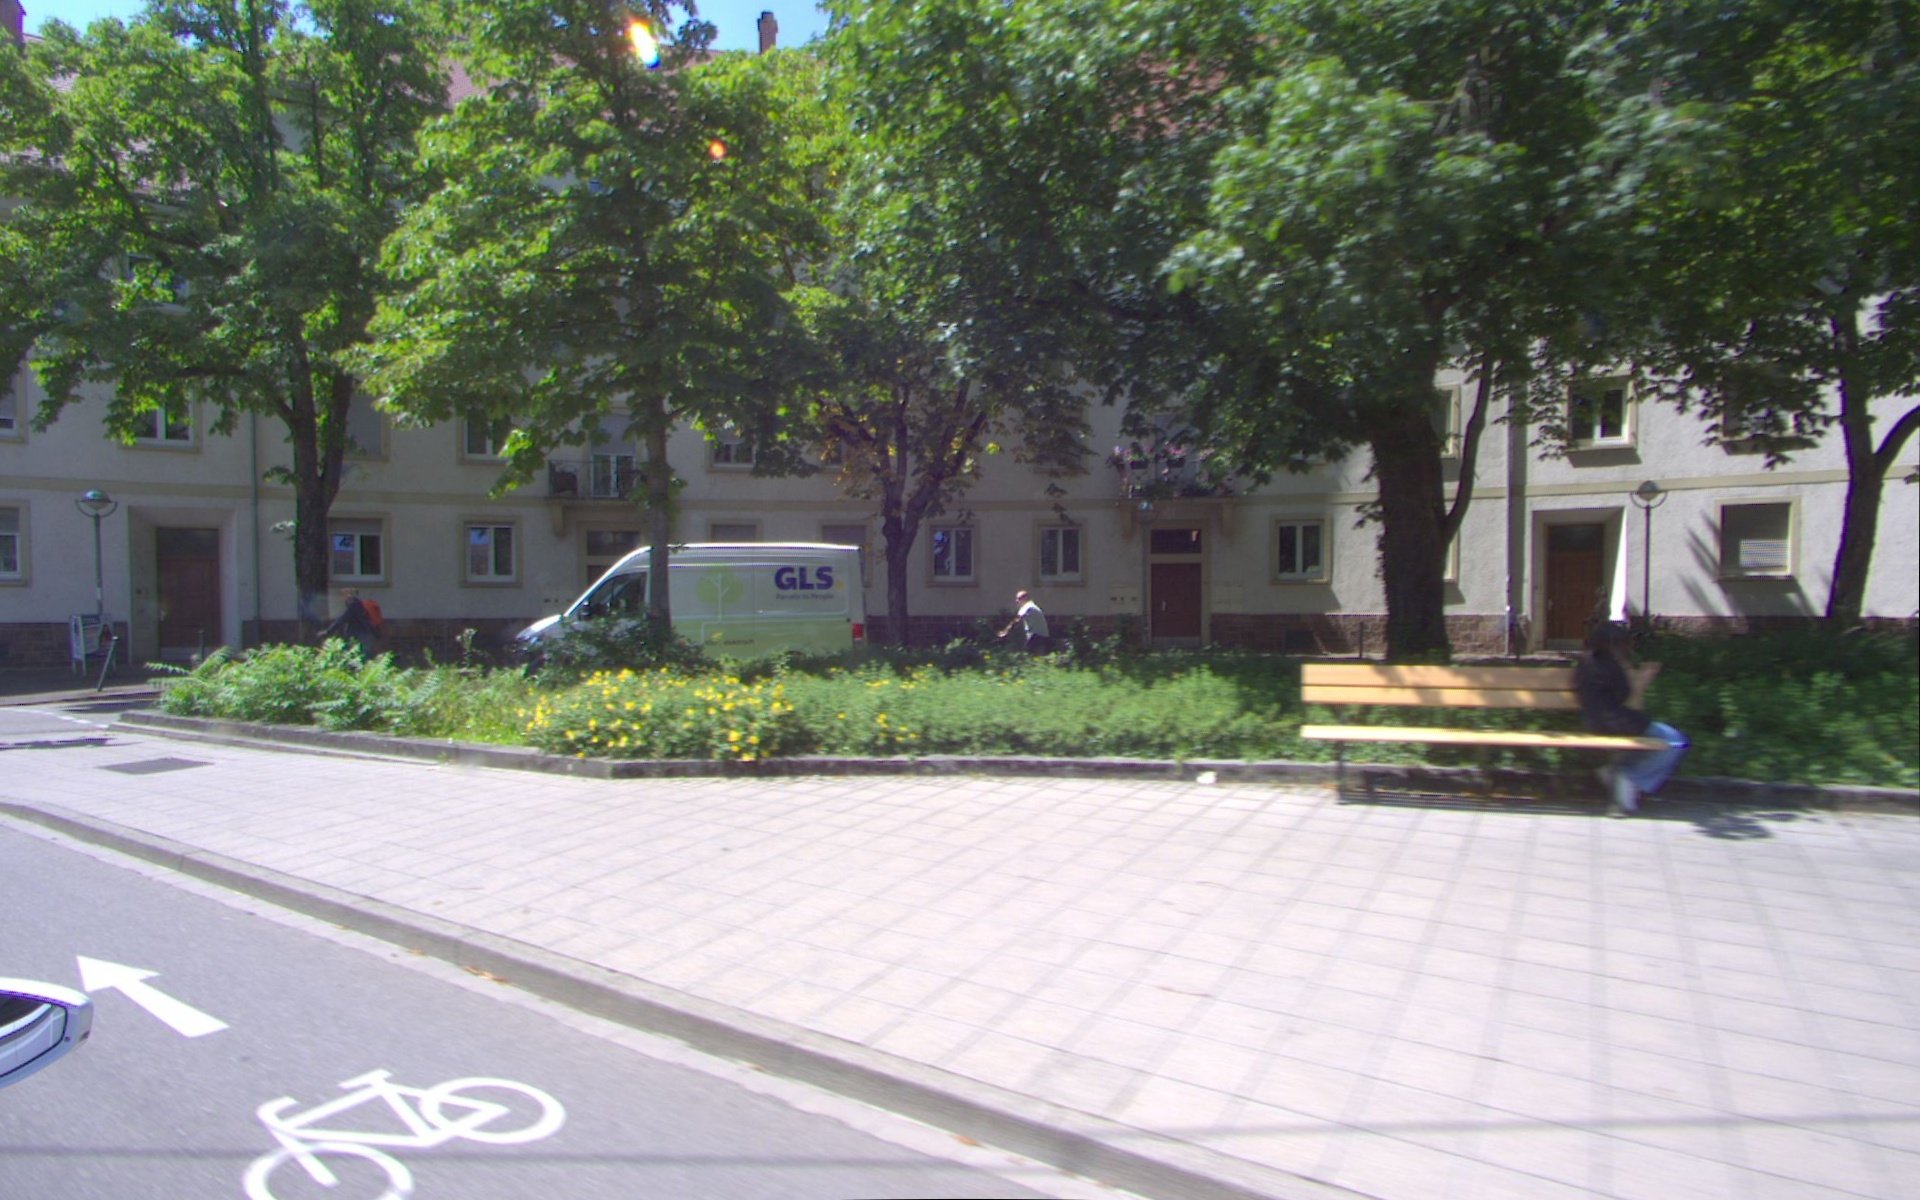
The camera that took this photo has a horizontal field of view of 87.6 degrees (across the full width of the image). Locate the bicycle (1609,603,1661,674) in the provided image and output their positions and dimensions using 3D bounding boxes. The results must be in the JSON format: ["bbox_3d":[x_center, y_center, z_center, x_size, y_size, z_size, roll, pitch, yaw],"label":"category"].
[{"bbox_3d":[13.834,0.770,20.491,0.510,1.365,2.223,0,-1,44],"label":"bicycle"}]

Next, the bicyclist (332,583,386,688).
[{"bbox_3d":[-9.776,0.572,16.298,0.684,1.667,0.578,0,0,-24],"label":"bicyclist"}]

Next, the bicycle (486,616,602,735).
[{"bbox_3d":[-5.128,0.894,12.296,1.809,1.377,0.351,-1,0,33],"label":"bicycle"}]

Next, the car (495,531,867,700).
[{"bbox_3d":[-4.475,0.266,16.850,5.739,2.623,2.000,0,-1,-7],"label":"car"}]

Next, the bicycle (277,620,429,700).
[{"bbox_3d":[-9.816,0.949,16.286,2.054,1.252,0.578,0,0,-25],"label":"bicycle"}]

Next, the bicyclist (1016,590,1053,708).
[{"bbox_3d":[1.167,0.760,15.810,0.524,1.823,0.604,0,0,-2],"label":"bicyclist"}]

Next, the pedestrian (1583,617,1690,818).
[{"bbox_3d":[4.056,0.672,6.001,0.472,1.107,0.507,2,3,38],"label":"pedestrian"}]

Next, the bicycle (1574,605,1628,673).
[{"bbox_3d":[13.436,0.793,20.960,0.510,1.362,2.308,0,-1,44],"label":"bicycle"}]

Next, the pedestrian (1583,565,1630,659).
[{"bbox_3d":[14.391,0.269,22.284,0.764,2.040,0.801,0,0,41],"label":"pedestrian"}]

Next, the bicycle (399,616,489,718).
[{"bbox_3d":[-6.028,0.770,11.685,1.269,1.141,0.332,-2,-1,32],"label":"bicycle"}]

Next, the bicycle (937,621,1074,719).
[{"bbox_3d":[0.703,1.086,15.807,2.126,1.504,0.593,0,0,-2],"label":"bicycle"}]

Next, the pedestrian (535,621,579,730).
[{"bbox_3d":[-4.890,0.901,12.152,0.345,1.301,0.365,0,0,32],"label":"pedestrian"}]

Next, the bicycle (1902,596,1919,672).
[{"bbox_3d":[17.439,0.601,18.132,0.541,1.317,2.139,0,-1,44],"label":"bicycle"}]

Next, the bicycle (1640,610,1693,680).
[{"bbox_3d":[14.006,0.862,19.831,0.541,1.317,2.139,0,-1,44],"label":"bicycle"}]
